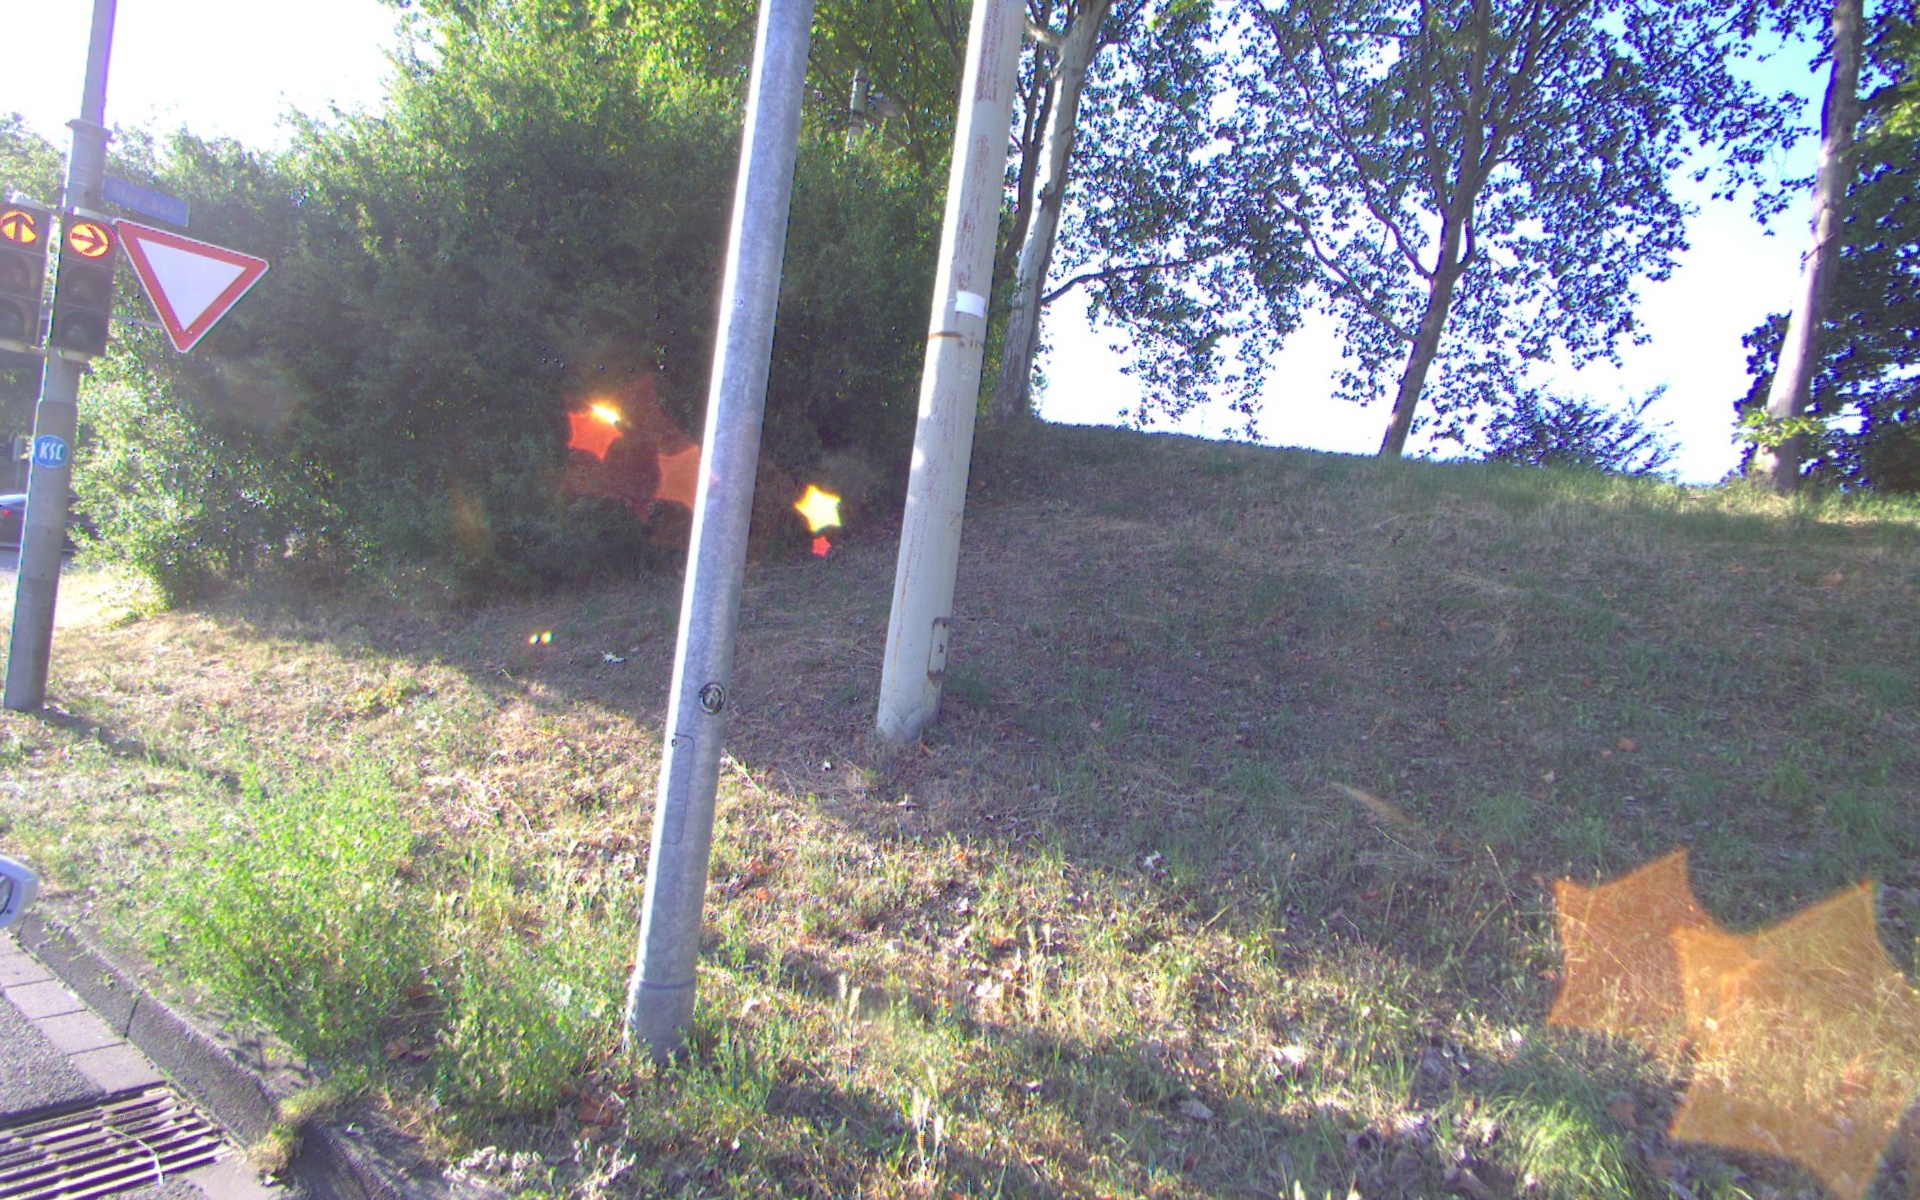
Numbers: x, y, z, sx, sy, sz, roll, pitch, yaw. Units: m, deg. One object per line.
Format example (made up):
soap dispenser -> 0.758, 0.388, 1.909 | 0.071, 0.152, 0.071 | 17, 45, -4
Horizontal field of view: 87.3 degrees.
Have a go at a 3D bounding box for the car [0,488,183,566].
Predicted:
car -> -22.037, -1.815, 24.781 | 1.661, 1.385, 4.497 | 7, -2, 12

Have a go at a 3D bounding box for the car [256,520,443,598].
car -> -17.349, -1.100, 28.919 | 1.661, 1.593, 4.773 | 7, -2, 11
